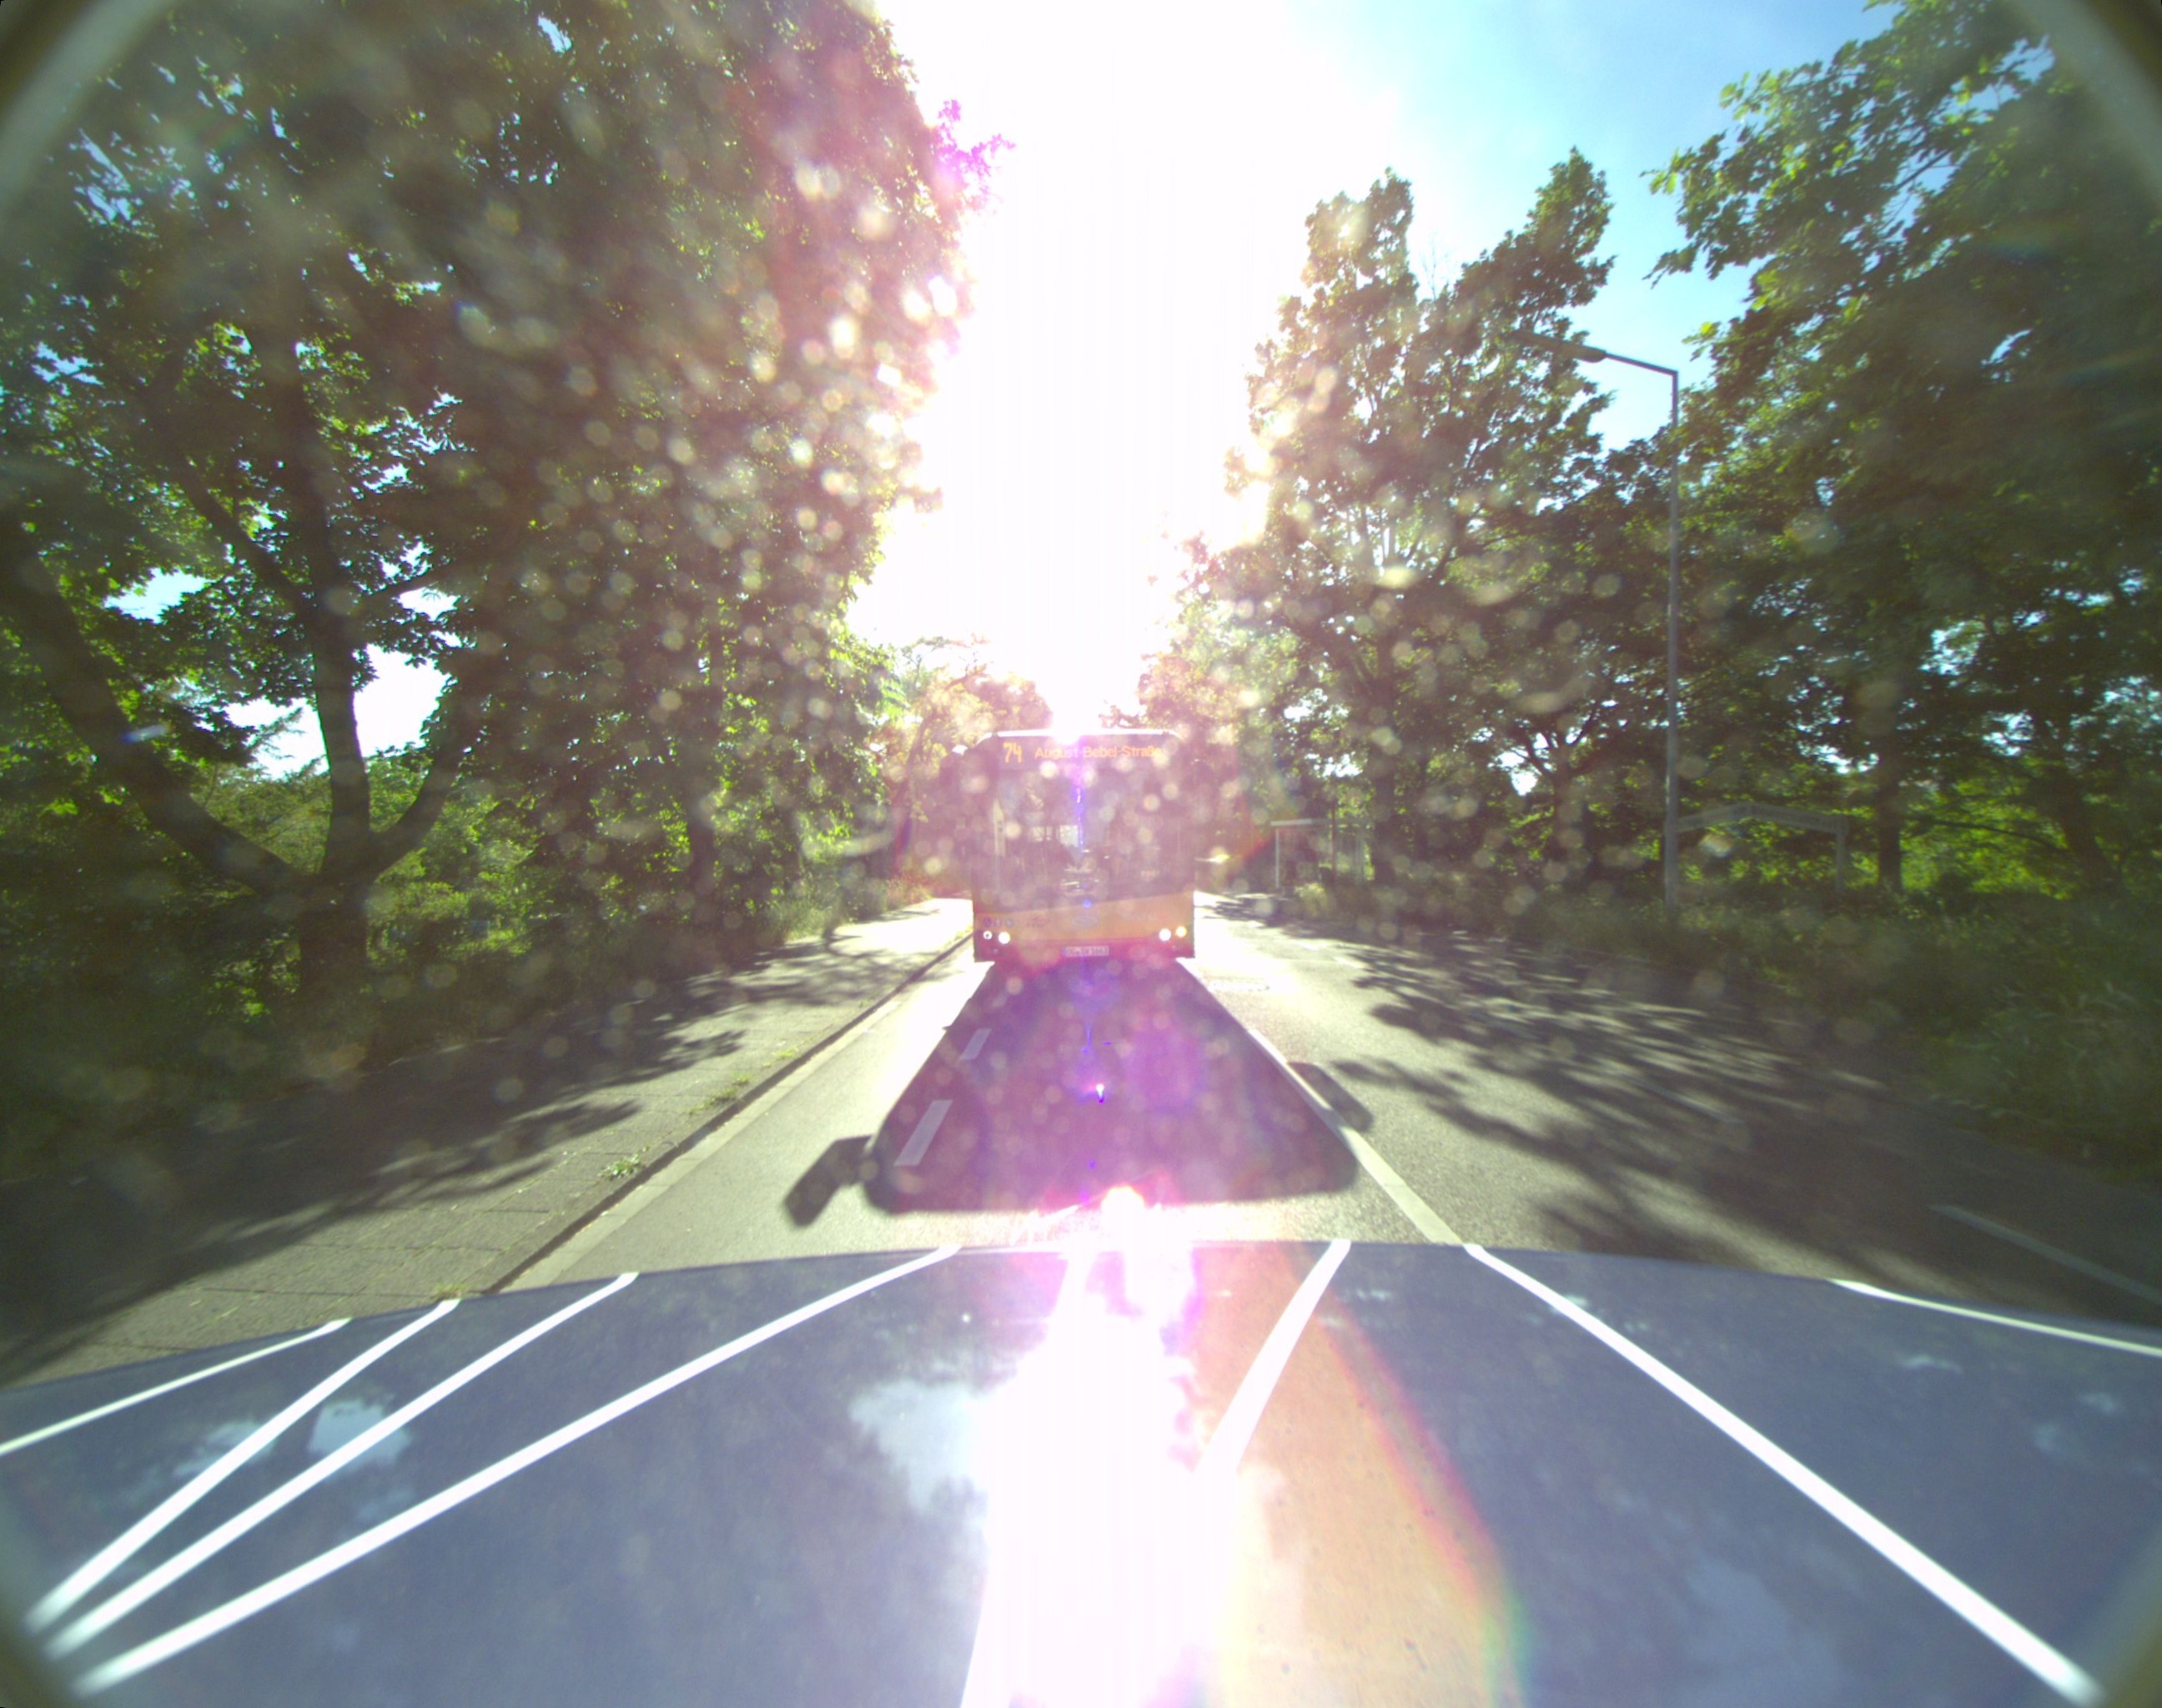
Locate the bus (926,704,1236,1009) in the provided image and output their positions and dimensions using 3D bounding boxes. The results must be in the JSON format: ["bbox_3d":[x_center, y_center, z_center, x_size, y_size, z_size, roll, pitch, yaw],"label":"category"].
[{"bbox_3d":[0.088,-0.009,14.201,3.128,3.080,12.478,-2,0,1],"label":"bus"}]
